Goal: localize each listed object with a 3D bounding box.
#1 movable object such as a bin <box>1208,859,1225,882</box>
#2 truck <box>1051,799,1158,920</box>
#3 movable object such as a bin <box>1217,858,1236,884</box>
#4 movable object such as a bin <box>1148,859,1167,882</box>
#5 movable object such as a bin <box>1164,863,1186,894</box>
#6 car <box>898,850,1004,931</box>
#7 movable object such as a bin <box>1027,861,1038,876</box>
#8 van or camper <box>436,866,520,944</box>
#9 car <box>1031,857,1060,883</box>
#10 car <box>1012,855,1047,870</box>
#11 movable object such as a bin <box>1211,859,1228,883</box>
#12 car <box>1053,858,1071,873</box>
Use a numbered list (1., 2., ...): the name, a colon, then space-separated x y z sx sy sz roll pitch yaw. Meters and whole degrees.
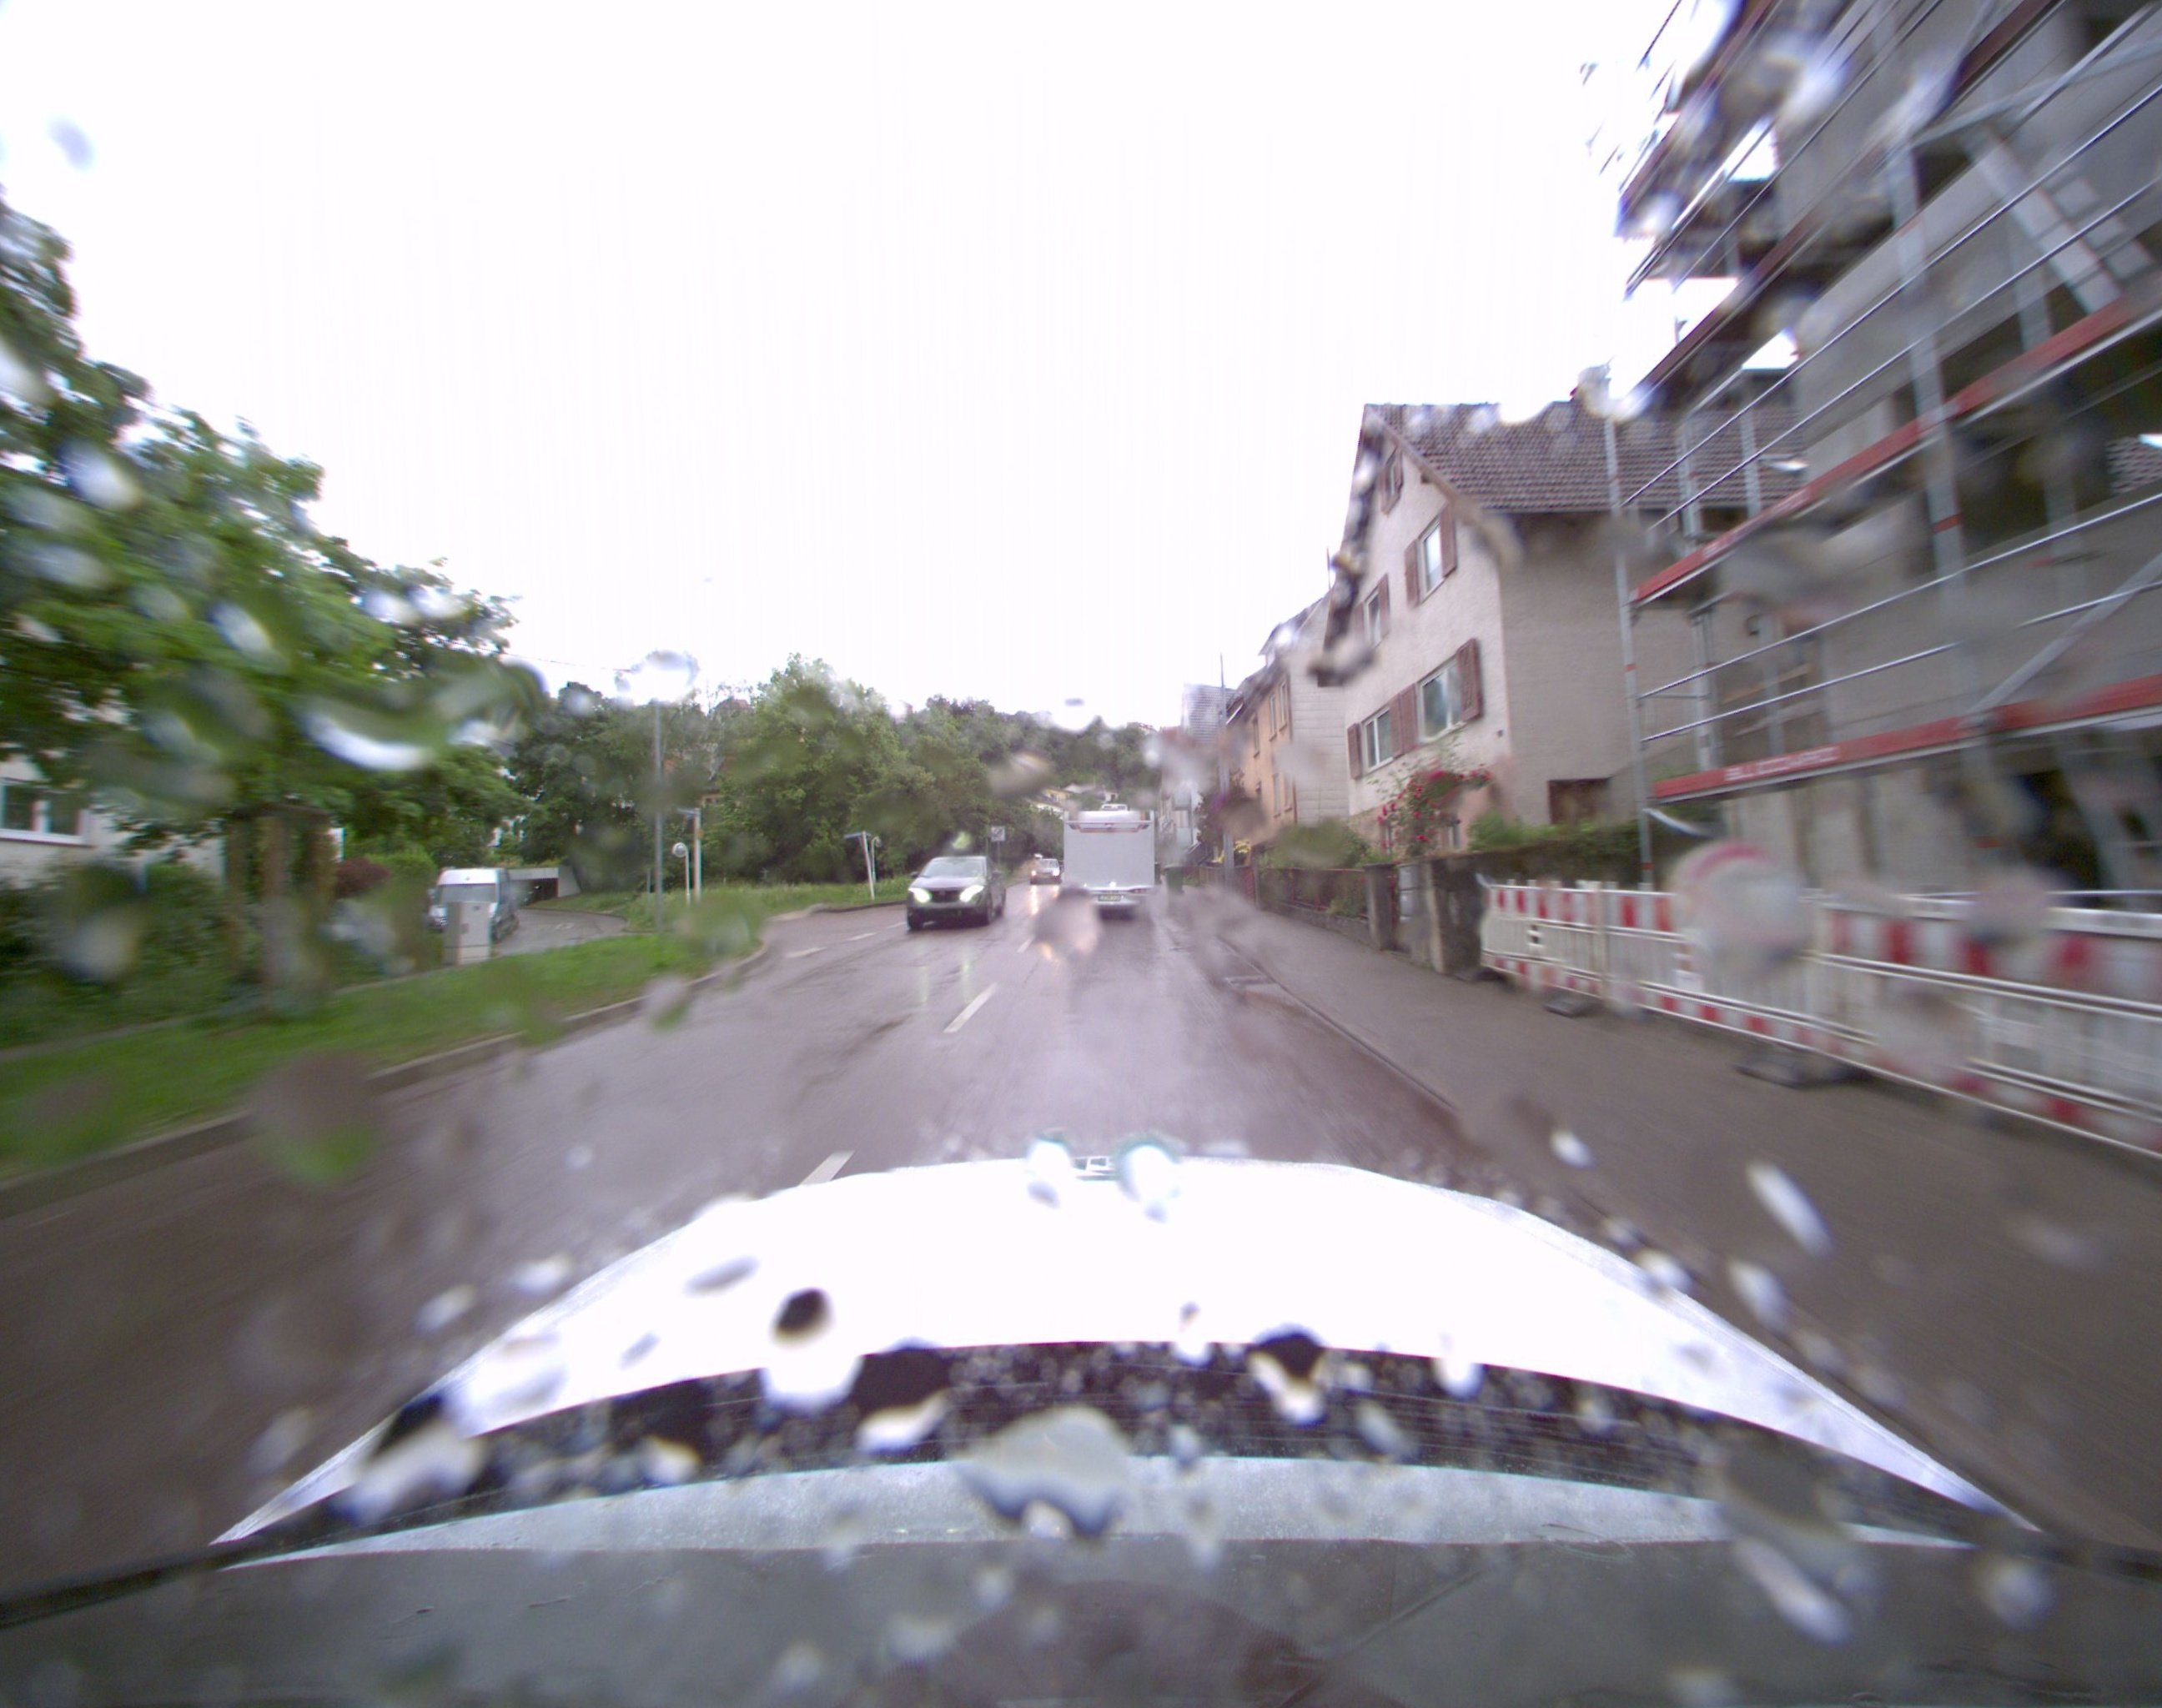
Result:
1. movable object such as a bin: 6.647 0.817 40.061 0.658 1.093 0.545 -5 0 -1
2. truck: 0.611 0.142 22.412 2.506 2.817 6.202 -1 0 1
3. movable object such as a bin: 6.677 0.776 37.450 0.658 1.093 0.655 -4 0 0
4. movable object such as a bin: 3.760 0.829 40.287 0.910 1.103 0.703 -1 0 3
5. movable object such as a bin: 3.291 0.837 28.483 0.716 1.052 0.801 -1 0 4
6. car: -2.990 0.787 19.569 1.745 1.689 4.376 -1 0 1
7. movable object such as a bin: -3.646 1.076 61.251 0.718 1.100 0.758 0 0 2
8. van or camper: -21.955 1.729 29.859 1.646 2.557 6.008 1 -1 -29
9. car: -2.029 0.913 47.530 1.556 1.454 4.083 -1 0 -1
10. car: -6.366 1.078 100.833 4.088 1.800 2.002 -1 0 3
11. movable object such as a bin: 6.717 0.814 39.405 0.643 1.093 0.545 -5 0 -1
12. car: -1.855 1.146 81.923 1.714 1.430 3.843 -1 0 -1
